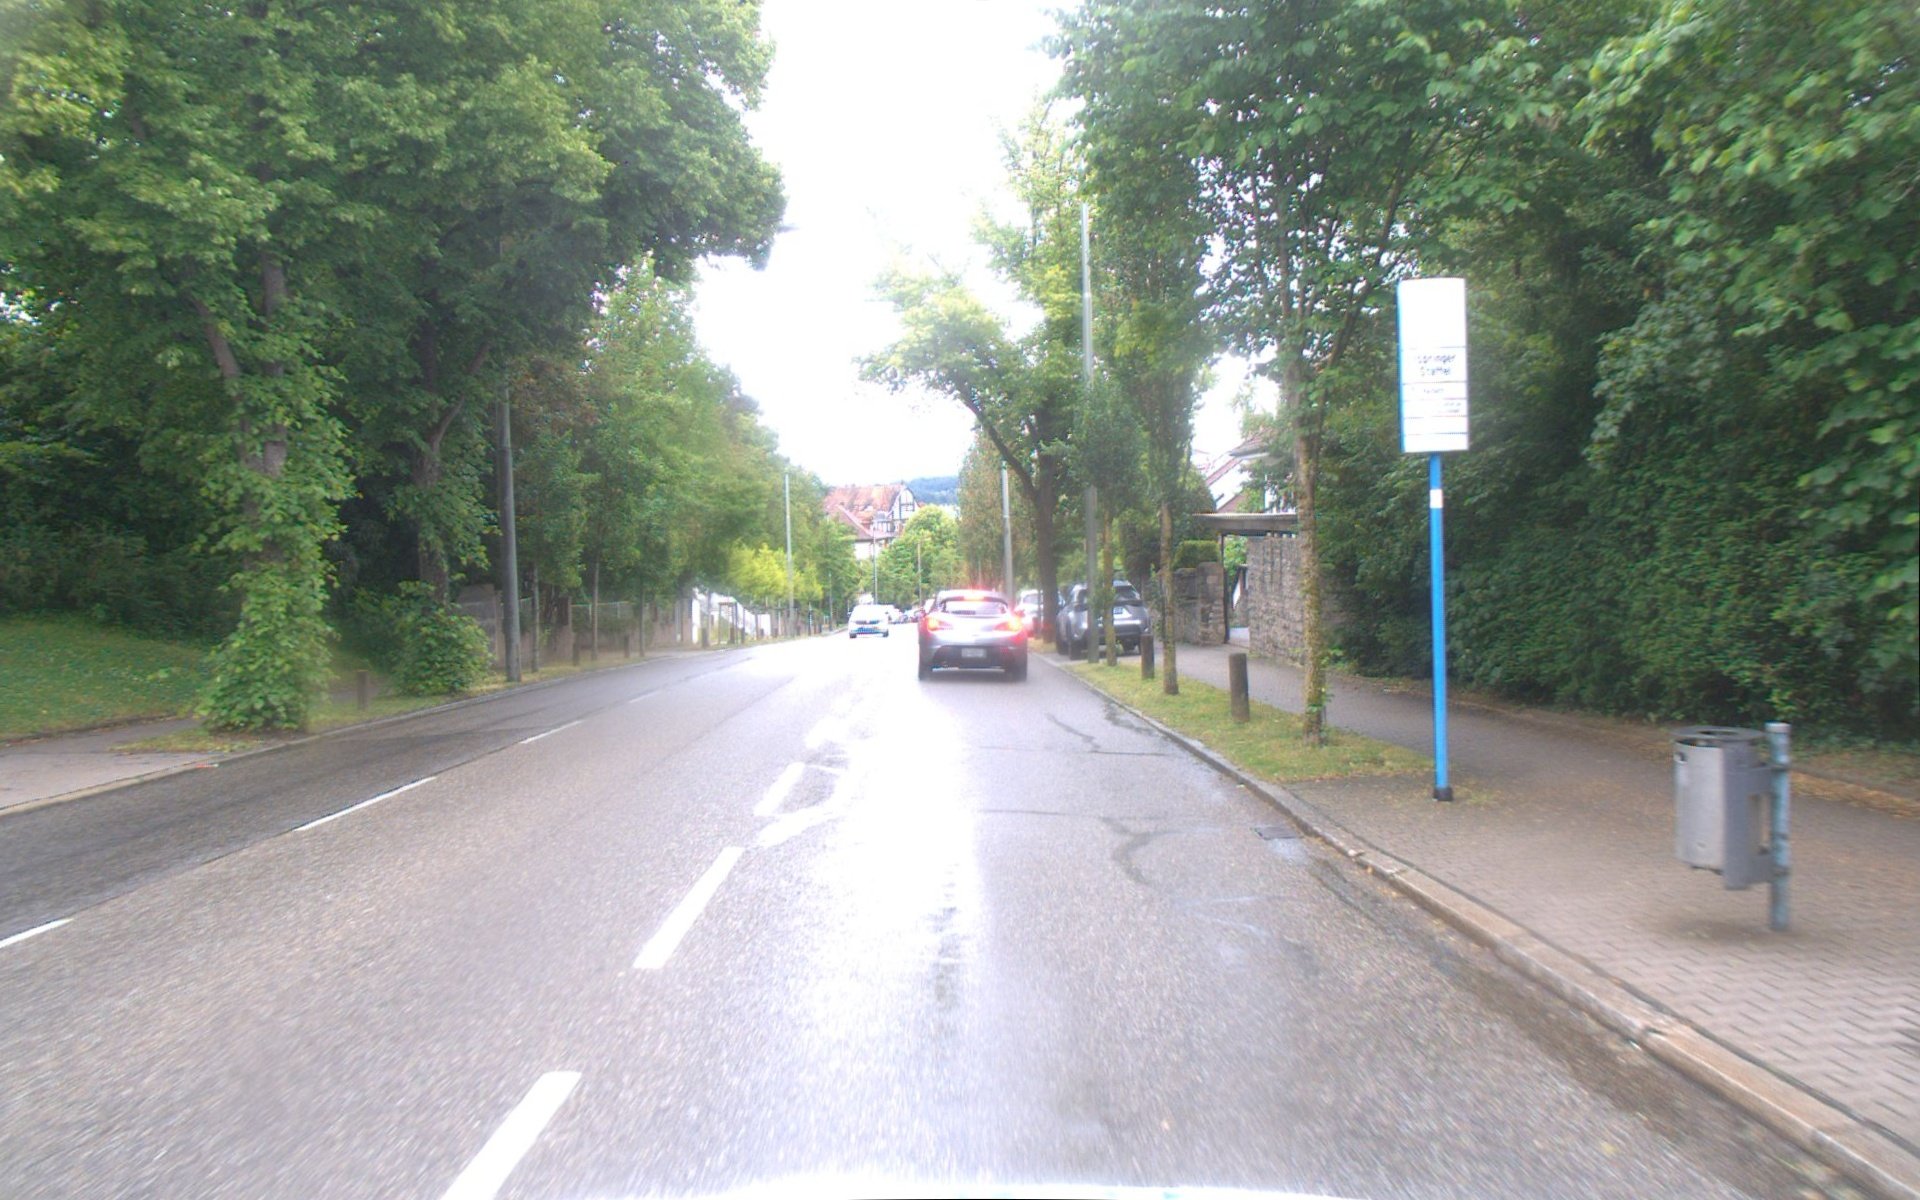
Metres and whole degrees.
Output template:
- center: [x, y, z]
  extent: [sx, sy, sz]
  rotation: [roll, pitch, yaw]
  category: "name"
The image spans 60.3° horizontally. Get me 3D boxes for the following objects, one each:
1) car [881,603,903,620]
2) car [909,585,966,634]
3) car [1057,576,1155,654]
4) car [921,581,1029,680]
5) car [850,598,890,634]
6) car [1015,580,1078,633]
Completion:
- center: [-6.031, 1.022, 147.687]
  extent: [1.686, 1.490, 4.000]
  rotation: [1, -1, 1]
  category: "car"
- center: [-0.709, 0.323, 52.663]
  extent: [1.718, 1.490, 3.999]
  rotation: [1, -1, -1]
  category: "car"
- center: [3.120, 0.272, 35.970]
  extent: [1.686, 1.489, 4.000]
  rotation: [-3, 1, -1]
  category: "car"
- center: [0.238, 0.461, 28.393]
  extent: [1.718, 1.489, 4.001]
  rotation: [1, 2, 0]
  category: "car"
- center: [-4.136, 0.733, 76.490]
  extent: [1.686, 1.489, 4.000]
  rotation: [2, 1, -1]
  category: "car"
- center: [2.636, 0.160, 51.205]
  extent: [1.686, 1.489, 4.000]
  rotation: [2, 1, -1]
  category: "car"
